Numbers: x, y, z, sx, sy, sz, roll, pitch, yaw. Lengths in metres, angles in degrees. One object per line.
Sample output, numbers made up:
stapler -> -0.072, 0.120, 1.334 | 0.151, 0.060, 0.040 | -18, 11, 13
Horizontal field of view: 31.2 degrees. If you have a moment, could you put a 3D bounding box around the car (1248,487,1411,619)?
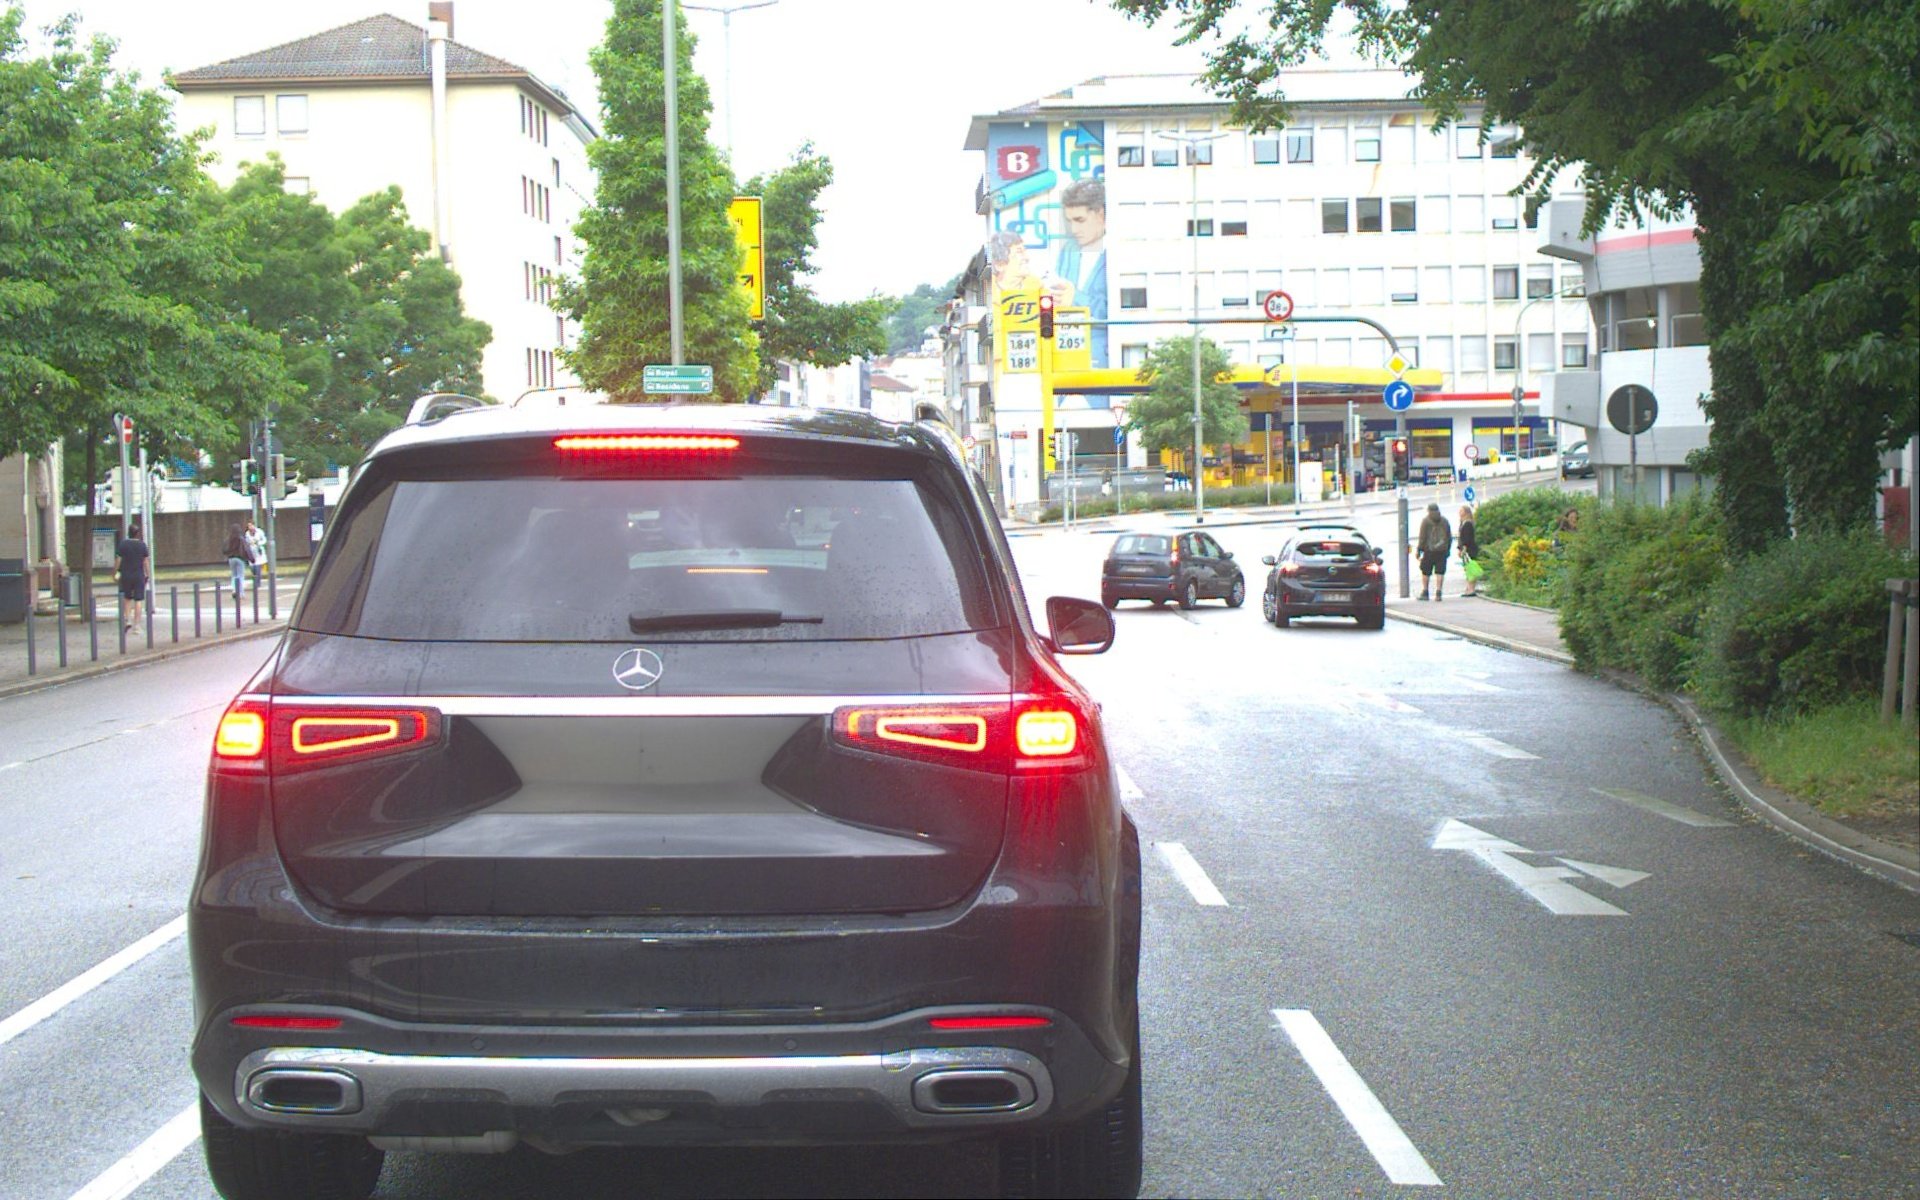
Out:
car -> 5.820, -0.774, 54.622 | 1.993, 2.007, 4.001 | 0, 1, -2

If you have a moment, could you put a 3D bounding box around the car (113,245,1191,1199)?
car -> -0.645, 0.338, 8.462 | 1.993, 2.007, 4.000 | 1, 0, -2

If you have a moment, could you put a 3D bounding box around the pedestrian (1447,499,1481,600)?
pedestrian -> 9.602, -0.958, 65.486 | 0.519, 1.904, 0.556 | 1, 0, -1

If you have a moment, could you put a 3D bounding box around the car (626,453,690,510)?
car -> -10.640, -4.159, 121.324 | 1.993, 1.868, 5.142 | 1, 0, -2

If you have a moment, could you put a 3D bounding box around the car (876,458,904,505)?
car -> -5.119, -8.675, 251.600 | 1.993, 2.003, 4.008 | 1, 24, -2

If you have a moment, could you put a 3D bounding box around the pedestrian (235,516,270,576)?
pedestrian -> -17.294, -1.318, 84.029 | 0.711, 1.457, 0.598 | 1, 0, -2

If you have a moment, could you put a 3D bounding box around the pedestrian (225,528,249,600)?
pedestrian -> -16.585, -0.835, 78.860 | 0.399, 1.639, 0.567 | 1, 0, -1

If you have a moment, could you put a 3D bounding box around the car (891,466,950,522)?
car -> -1.496, -3.967, 129.202 | 1.993, 2.007, 4.001 | 1, 0, -3

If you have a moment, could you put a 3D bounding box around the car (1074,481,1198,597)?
car -> 3.172, -1.092, 62.581 | 1.993, 2.007, 4.000 | 1, 0, 0

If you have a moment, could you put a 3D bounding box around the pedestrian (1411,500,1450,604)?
pedestrian -> 8.804, -0.902, 64.347 | 0.620, 1.929, 0.610 | 1, 0, 1

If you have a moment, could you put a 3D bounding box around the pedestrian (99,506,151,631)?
pedestrian -> -13.809, -0.526, 56.887 | 0.587, 2.006, 0.749 | 4, 2, -3
